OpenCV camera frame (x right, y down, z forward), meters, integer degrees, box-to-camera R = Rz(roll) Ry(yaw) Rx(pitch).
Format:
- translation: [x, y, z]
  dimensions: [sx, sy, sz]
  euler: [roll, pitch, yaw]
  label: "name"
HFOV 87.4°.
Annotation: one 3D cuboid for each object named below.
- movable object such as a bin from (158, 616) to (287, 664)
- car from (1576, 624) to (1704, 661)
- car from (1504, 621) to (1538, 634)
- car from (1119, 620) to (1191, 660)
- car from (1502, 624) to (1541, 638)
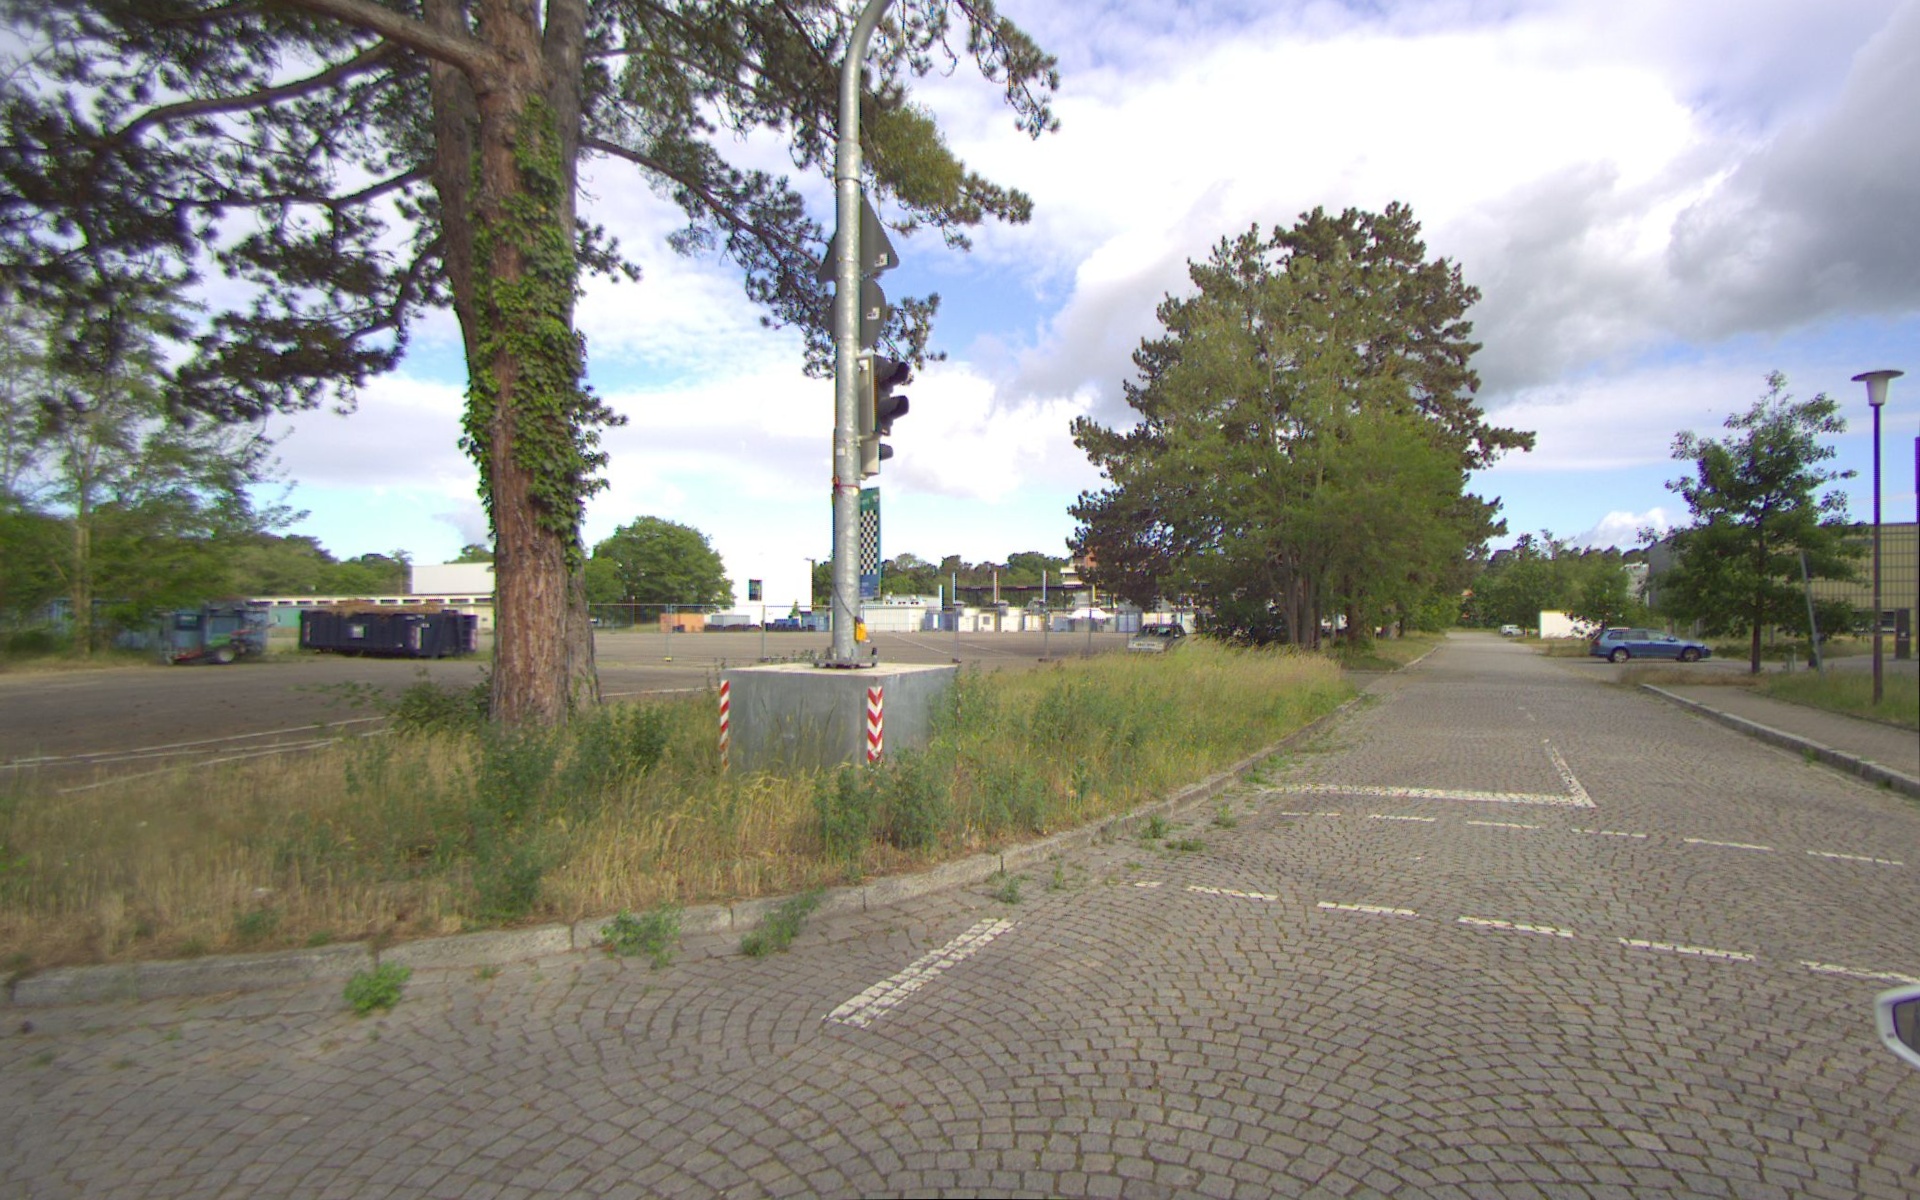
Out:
- translation: [-19.780, 1.047, 27.009]
  dimensions: [1.149, 1.228, 2.536]
  euler: [0, -1, 27]
  label: "movable object such as a bin"
- translation: [30.523, 1.905, 45.247]
  dimensions: [4.447, 1.551, 1.999]
  euler: [-2, -2, 24]
  label: "car"
- translation: [82.255, 4.030, 147.294]
  dimensions: [4.290, 1.804, 1.922]
  euler: [0, -1, 29]
  label: "car"
- translation: [7.907, 1.569, 40.467]
  dimensions: [1.889, 1.496, 4.366]
  euler: [0, -1, 24]
  label: "car"
- translation: [72.024, 3.972, 128.985]
  dimensions: [4.288, 1.710, 1.923]
  euler: [0, -1, 27]
  label: "car"
